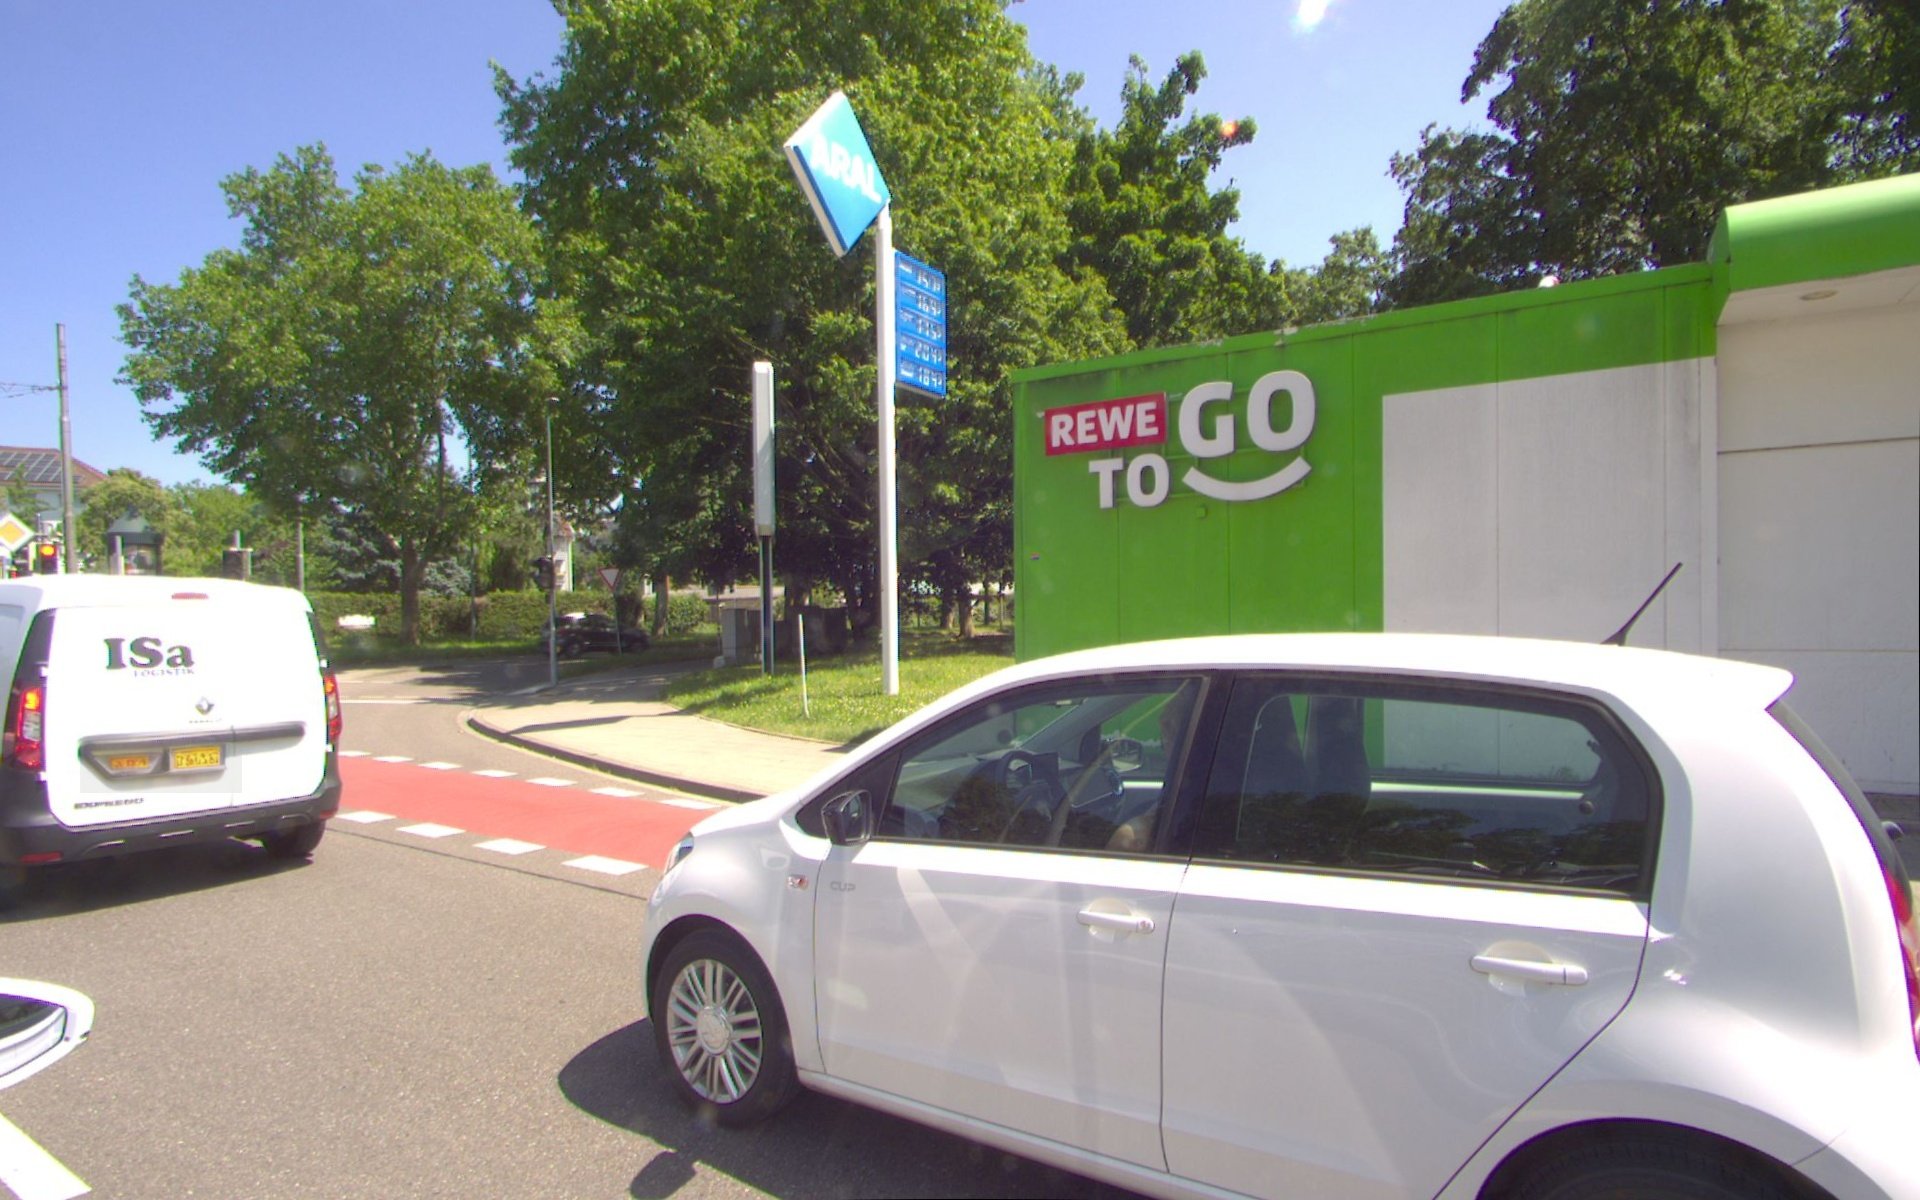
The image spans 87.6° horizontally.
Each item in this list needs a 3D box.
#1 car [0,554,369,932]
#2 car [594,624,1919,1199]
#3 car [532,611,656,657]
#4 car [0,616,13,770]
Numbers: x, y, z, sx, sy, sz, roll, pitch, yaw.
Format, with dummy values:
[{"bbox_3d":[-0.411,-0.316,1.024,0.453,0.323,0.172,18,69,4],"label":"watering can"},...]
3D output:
[{"bbox_3d":[-5.872,0.745,6.609,4.005,1.811,1.725,-1,-2,31],"label":"car"},{"bbox_3d":[0.673,0.823,2.992,3.387,1.466,1.606,0,-1,33],"label":"car"},{"bbox_3d":[-13.486,1.255,37.037,3.963,1.617,1.682,2,-1,-45],"label":"car"},{"bbox_3d":[-11.948,0.940,10.630,3.943,1.589,1.832,0,-1,32],"label":"car"}]
